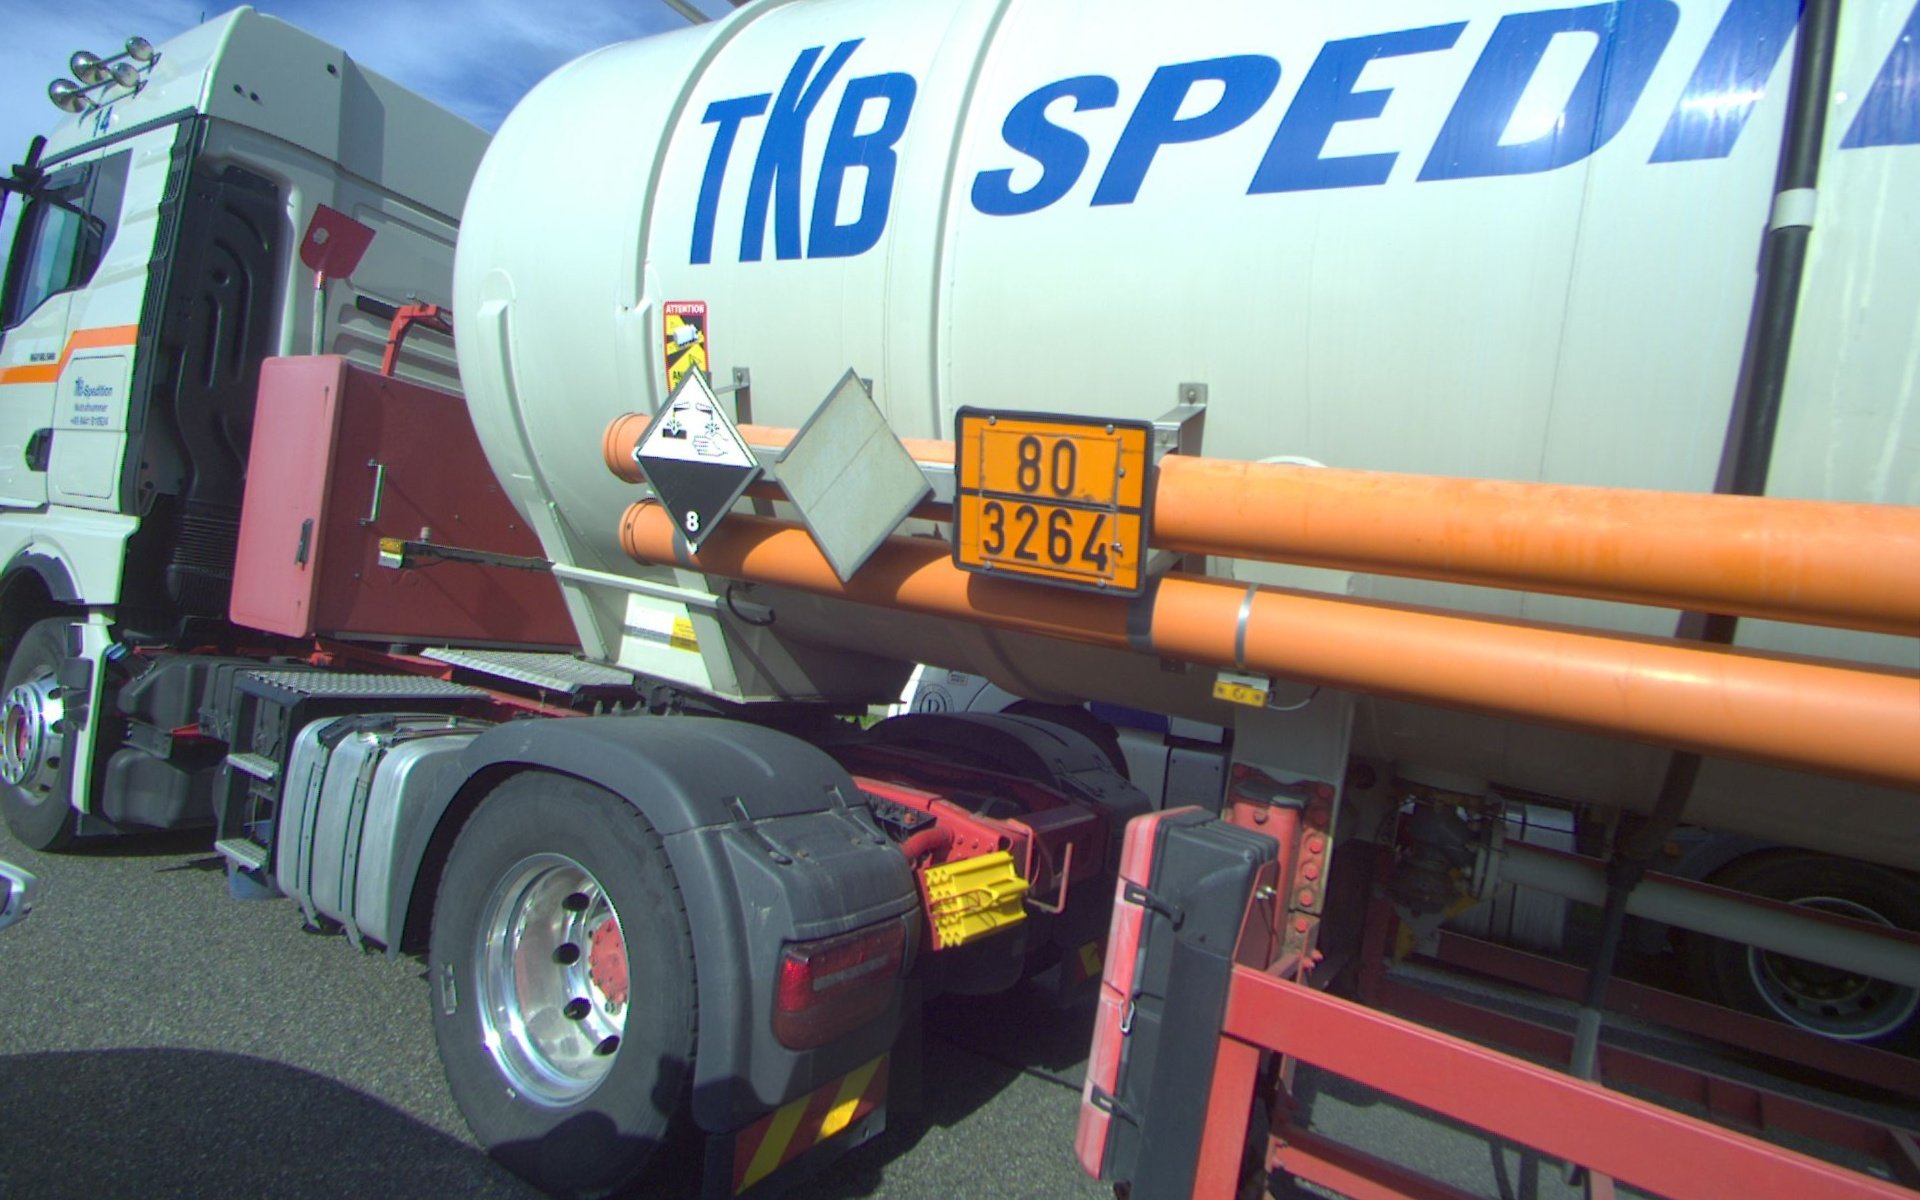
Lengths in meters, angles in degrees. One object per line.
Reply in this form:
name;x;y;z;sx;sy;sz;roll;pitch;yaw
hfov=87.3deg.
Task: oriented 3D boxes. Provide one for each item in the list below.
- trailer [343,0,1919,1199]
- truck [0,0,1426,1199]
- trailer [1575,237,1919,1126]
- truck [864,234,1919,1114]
trailer;3.572;0.109;1.161;10.450;3.697;2.546;7;-1;32
truck;-1.859;-0.585;4.521;6.617;3.626;2.538;7;-1;31
trailer;8.179;0.817;3.013;10.450;3.641;2.545;7;-1;32
truck;3.013;0.195;6.225;6.663;3.616;2.533;7;0;32
